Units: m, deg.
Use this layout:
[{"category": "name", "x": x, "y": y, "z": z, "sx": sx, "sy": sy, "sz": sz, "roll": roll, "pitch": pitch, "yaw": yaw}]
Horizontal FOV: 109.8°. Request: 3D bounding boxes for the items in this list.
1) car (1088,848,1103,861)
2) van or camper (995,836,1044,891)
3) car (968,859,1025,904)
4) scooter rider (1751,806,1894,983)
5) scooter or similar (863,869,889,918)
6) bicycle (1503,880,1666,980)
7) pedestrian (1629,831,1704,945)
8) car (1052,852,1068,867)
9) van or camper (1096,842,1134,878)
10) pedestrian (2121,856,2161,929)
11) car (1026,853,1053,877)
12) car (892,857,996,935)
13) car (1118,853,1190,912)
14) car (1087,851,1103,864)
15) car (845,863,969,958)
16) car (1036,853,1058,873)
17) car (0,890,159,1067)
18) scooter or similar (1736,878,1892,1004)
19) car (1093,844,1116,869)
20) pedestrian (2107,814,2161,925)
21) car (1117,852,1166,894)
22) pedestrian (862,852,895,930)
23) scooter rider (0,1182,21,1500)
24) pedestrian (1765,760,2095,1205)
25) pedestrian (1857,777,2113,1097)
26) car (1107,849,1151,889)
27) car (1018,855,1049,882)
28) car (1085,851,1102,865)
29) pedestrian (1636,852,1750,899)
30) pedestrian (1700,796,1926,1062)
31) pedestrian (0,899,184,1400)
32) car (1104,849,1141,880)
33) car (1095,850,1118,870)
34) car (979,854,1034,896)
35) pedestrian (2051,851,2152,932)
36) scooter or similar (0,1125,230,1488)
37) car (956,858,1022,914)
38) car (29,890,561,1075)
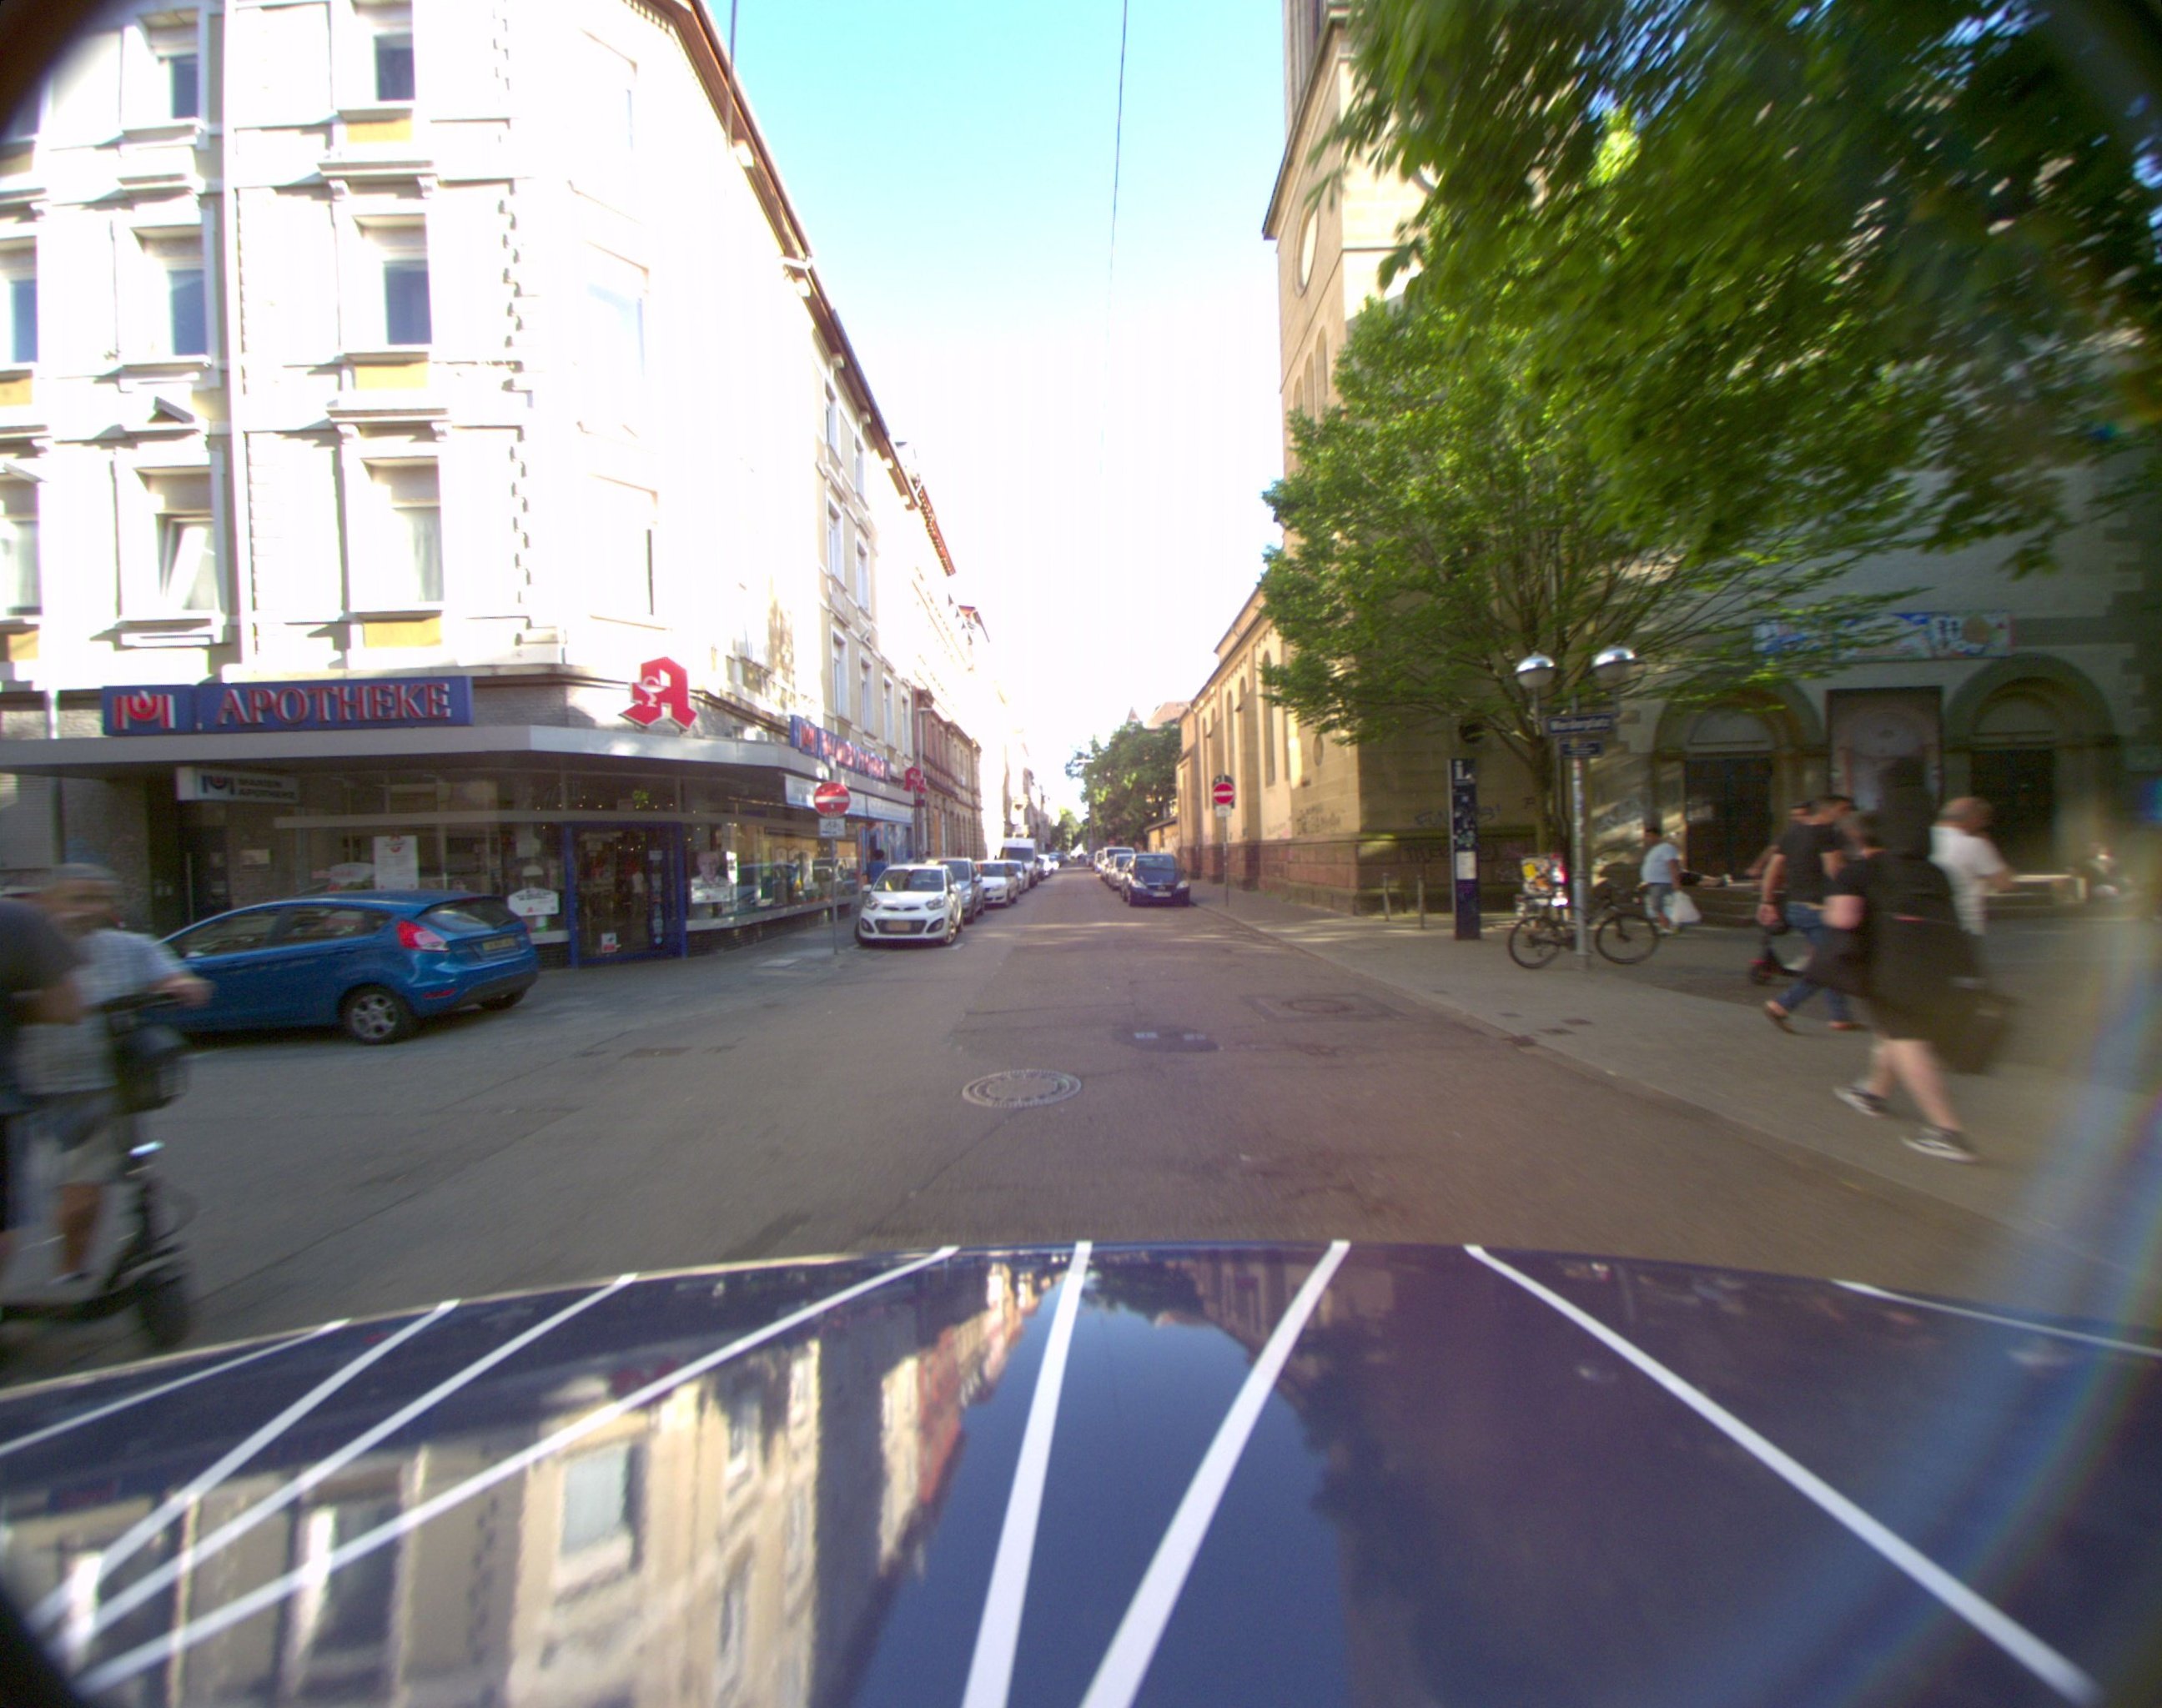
[{"category": "car", "x": 1.943, "y": 0.118, "z": 100.711, "sx": 1.777, "sy": 1.614, "sz": 4.021, "roll": -2, "pitch": 0, "yaw": -1}, {"category": "van or camper", "x": -3.226, "y": 0.435, "z": 40.745, "sx": 1.998, "sy": 2.617, "sz": 5.978, "roll": -3, "pitch": 1, "yaw": 0}, {"category": "car", "x": -3.209, "y": 1.011, "z": 29.578, "sx": 1.590, "sy": 1.478, "sz": 3.912, "roll": -3, "pitch": 1, "yaw": 2}, {"category": "scooter rider", "x": 7.333, "y": 0.380, "z": 7.547, "sx": 0.689, "sy": 1.638, "sz": 0.720, "roll": -3, "pitch": 1, "yaw": -1}, {"category": "scooter or similar", "x": -5.718, "y": 1.080, "z": 21.221, "sx": 0.396, "sy": 1.272, "sz": 1.036, "roll": -3, "pitch": 1, "yaw": 0}, {"category": "bicycle", "x": 5.917, "y": 0.886, "z": 8.955, "sx": 1.694, "sy": 1.059, "sz": 0.346, "roll": -3, "pitch": 1, "yaw": -2}, {"category": "pedestrian", "x": 8.522, "y": 0.481, "z": 11.072, "sx": 0.480, "sy": 1.584, "sz": 0.714, "roll": -3, "pitch": 1, "yaw": -3}, {"category": "car", "x": -2.352, "y": 0.575, "z": 85.911, "sx": 1.696, "sy": 1.615, "sz": 3.963, "roll": -2, "pitch": 0, "yaw": 0}, {"category": "van or camper", "x": 1.953, "y": 0.331, "z": 44.648, "sx": 1.984, "sy": 1.940, "sz": 4.562, "roll": -2, "pitch": 0, "yaw": 0}, {"category": "pedestrian", "x": 17.277, "y": 0.609, "z": 12.152, "sx": 0.616, "sy": 1.101, "sz": 0.490, "roll": -3, "pitch": 1, "yaw": -1}, {"category": "car", "x": -2.971, "y": 0.756, "z": 55.129, "sx": 1.696, "sy": 1.615, "sz": 3.963, "roll": -2, "pitch": 0, "yaw": 0}, {"category": "car", "x": -3.426, "y": 0.976, "z": 19.796, "sx": 1.804, "sy": 1.641, "sz": 4.486, "roll": -3, "pitch": 1, "yaw": 0}, {"category": "car", "x": 2.148, "y": 0.798, "z": 23.421, "sx": 1.798, "sy": 1.543, "sz": 3.833, "roll": -3, "pitch": 1, "yaw": 0}, {"category": "car", "x": 1.692, "y": 0.423, "z": 94.861, "sx": 1.777, "sy": 1.614, "sz": 4.021, "roll": -2, "pitch": 0, "yaw": -1}, {"category": "car", "x": -3.243, "y": 0.991, "z": 14.838, "sx": 1.694, "sy": 1.454, "sz": 3.639, "roll": -3, "pitch": 1, "yaw": -3}, {"category": "car", "x": -2.997, "y": 0.783, "z": 67.348, "sx": 1.696, "sy": 1.615, "sz": 3.963, "roll": -2, "pitch": 0, "yaw": 0}, {"category": "car", "x": -12.328, "y": 1.293, "z": 7.746, "sx": 3.744, "sy": 1.621, "sz": 1.629, "roll": -2, "pitch": 2, "yaw": 0}, {"category": "scooter or similar", "x": 7.335, "y": 0.853, "z": 7.629, "sx": 1.057, "sy": 1.153, "sz": 0.514, "roll": -3, "pitch": 1, "yaw": -1}, {"category": "car", "x": 2.026, "y": 0.204, "z": 66.226, "sx": 1.777, "sy": 2.128, "sz": 4.022, "roll": -2, "pitch": 0, "yaw": 0}, {"category": "pedestrian", "x": 16.138, "y": 0.221, "z": 11.486, "sx": 0.561, "sy": 1.622, "sz": 0.550, "roll": -3, "pitch": 1, "yaw": -13}, {"category": "car", "x": 2.231, "y": 0.647, "z": 28.799, "sx": 1.576, "sy": 1.356, "sz": 4.146, "roll": -3, "pitch": 1, "yaw": 1}, {"category": "pedestrian", "x": -5.054, "y": 0.906, "z": 18.982, "sx": 0.563, "sy": 1.883, "sz": 0.530, "roll": -3, "pitch": 1, "yaw": -1}, {"category": "scooter rider", "x": -3.404, "y": 0.945, "z": 2.013, "sx": 0.610, "sy": 1.768, "sz": 0.566, "roll": -2, "pitch": 2, "yaw": 39}, {"category": "pedestrian", "x": 3.929, "y": 0.546, "z": 3.580, "sx": 0.718, "sy": 1.862, "sz": 0.720, "roll": -3, "pitch": 1, "yaw": -1}, {"category": "pedestrian", "x": 5.607, "y": 0.481, "z": 4.757, "sx": 0.763, "sy": 1.825, "sz": 0.688, "roll": -3, "pitch": 1, "yaw": -2}, {"category": "car", "x": 2.075, "y": 0.623, "z": 33.753, "sx": 1.724, "sy": 1.558, "sz": 3.999, "roll": -3, "pitch": 1, "yaw": 1}, {"category": "car", "x": -3.059, "y": 0.889, "z": 49.719, "sx": 1.696, "sy": 1.615, "sz": 3.813, "roll": -2, "pitch": 0, "yaw": 0}, {"category": "car", "x": 1.430, "y": 0.448, "z": 90.372, "sx": 1.777, "sy": 1.614, "sz": 4.021, "roll": -2, "pitch": 0, "yaw": -1}, {"category": "pedestrian", "x": 11.258, "y": 0.371, "z": 14.038, "sx": 0.959, "sy": 0.756, "sz": 1.406, "roll": -3, "pitch": 1, "yaw": 0}, {"category": "pedestrian", "x": 5.475, "y": 0.515, "z": 5.756, "sx": 0.695, "sy": 1.815, "sz": 1.003, "roll": -3, "pitch": 1, "yaw": -2}, {"category": "pedestrian", "x": -3.766, "y": 1.004, "z": 2.742, "sx": 0.527, "sy": 1.629, "sz": 0.566, "roll": -1, "pitch": 2, "yaw": 44}, {"category": "car", "x": 2.108, "y": 0.532, "z": 39.745, "sx": 1.696, "sy": 1.472, "sz": 3.736, "roll": -2, "pitch": 0, "yaw": 0}, {"category": "car", "x": 2.027, "y": 0.448, "z": 60.816, "sx": 1.696, "sy": 1.529, "sz": 3.813, "roll": -2, "pitch": 0, "yaw": 0}, {"category": "car", "x": -3.351, "y": 0.885, "z": 34.886, "sx": 1.998, "sy": 1.637, "sz": 4.563, "roll": -3, "pitch": 1, "yaw": 0}, {"category": "pedestrian", "x": 16.439, "y": 0.590, "z": 12.258, "sx": 0.615, "sy": 1.224, "sz": 0.741, "roll": -3, "pitch": 1, "yaw": -1}, {"category": "scooter or similar", "x": -3.279, "y": 1.393, "z": 2.258, "sx": 0.394, "sy": 0.824, "sz": 0.925, "roll": -3, "pitch": 1, "yaw": 0}, {"category": "car", "x": -2.911, "y": 0.966, "z": 24.855, "sx": 1.558, "sy": 1.518, "sz": 4.200, "roll": -3, "pitch": 1, "yaw": 0}, {"category": "car", "x": -7.896, "y": 1.237, "z": 7.948, "sx": 3.582, "sy": 1.478, "sz": 1.788, "roll": -2, "pitch": 2, "yaw": 0}]
